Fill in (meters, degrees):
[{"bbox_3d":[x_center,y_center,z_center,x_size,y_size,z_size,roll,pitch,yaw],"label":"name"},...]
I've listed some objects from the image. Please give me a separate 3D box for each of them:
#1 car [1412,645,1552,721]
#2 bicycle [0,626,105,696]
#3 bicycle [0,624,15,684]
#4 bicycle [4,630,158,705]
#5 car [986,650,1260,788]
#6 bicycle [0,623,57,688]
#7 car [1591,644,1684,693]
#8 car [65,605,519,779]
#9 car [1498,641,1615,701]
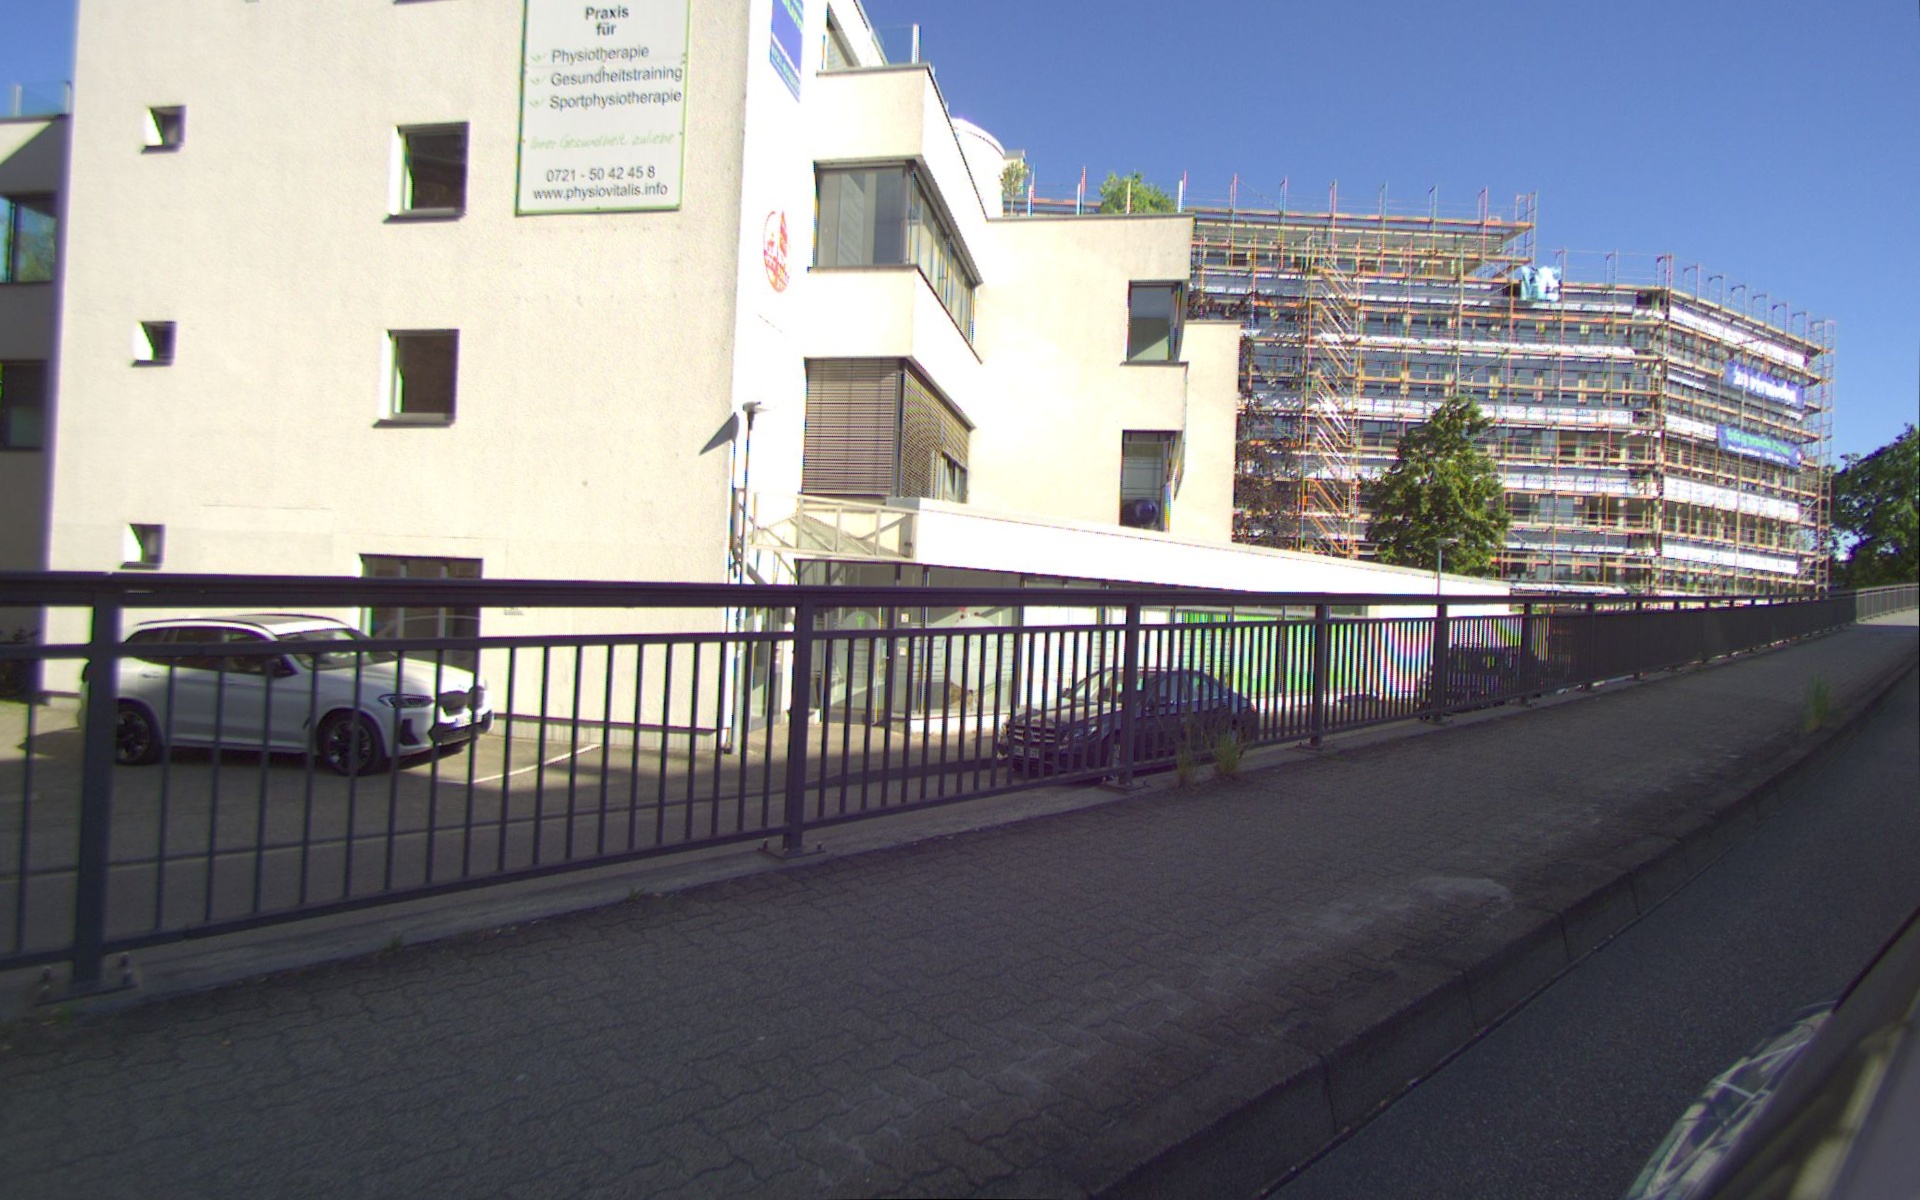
[{"bbox_3d":[12.348,1.879,23.825,3.932,1.541,1.723,1,-1,-43],"label":"car"},{"bbox_3d":[-15.961,1.026,17.396,0.655,1.065,1.916,2,1,11],"label":"bicycle"},{"bbox_3d":[-17.760,0.982,17.592,0.655,1.065,1.916,2,1,11],"label":"bicycle"},{"bbox_3d":[-14.480,1.087,16.744,0.655,1.065,1.916,2,1,11],"label":"bicycle"},{"bbox_3d":[2.396,1.548,14.298,3.930,1.541,1.724,1,-1,-41],"label":"car"},{"bbox_3d":[-16.881,0.975,17.470,0.655,1.065,1.916,2,1,11],"label":"bicycle"},{"bbox_3d":[22.476,2.209,33.504,3.932,1.410,1.723,1,-1,-43],"label":"car"},{"bbox_3d":[-7.936,1.001,12.223,4.454,1.707,1.841,2,0,8],"label":"car"},{"bbox_3d":[16.428,1.893,27.799,3.932,1.410,1.723,1,-1,-43],"label":"car"}]
